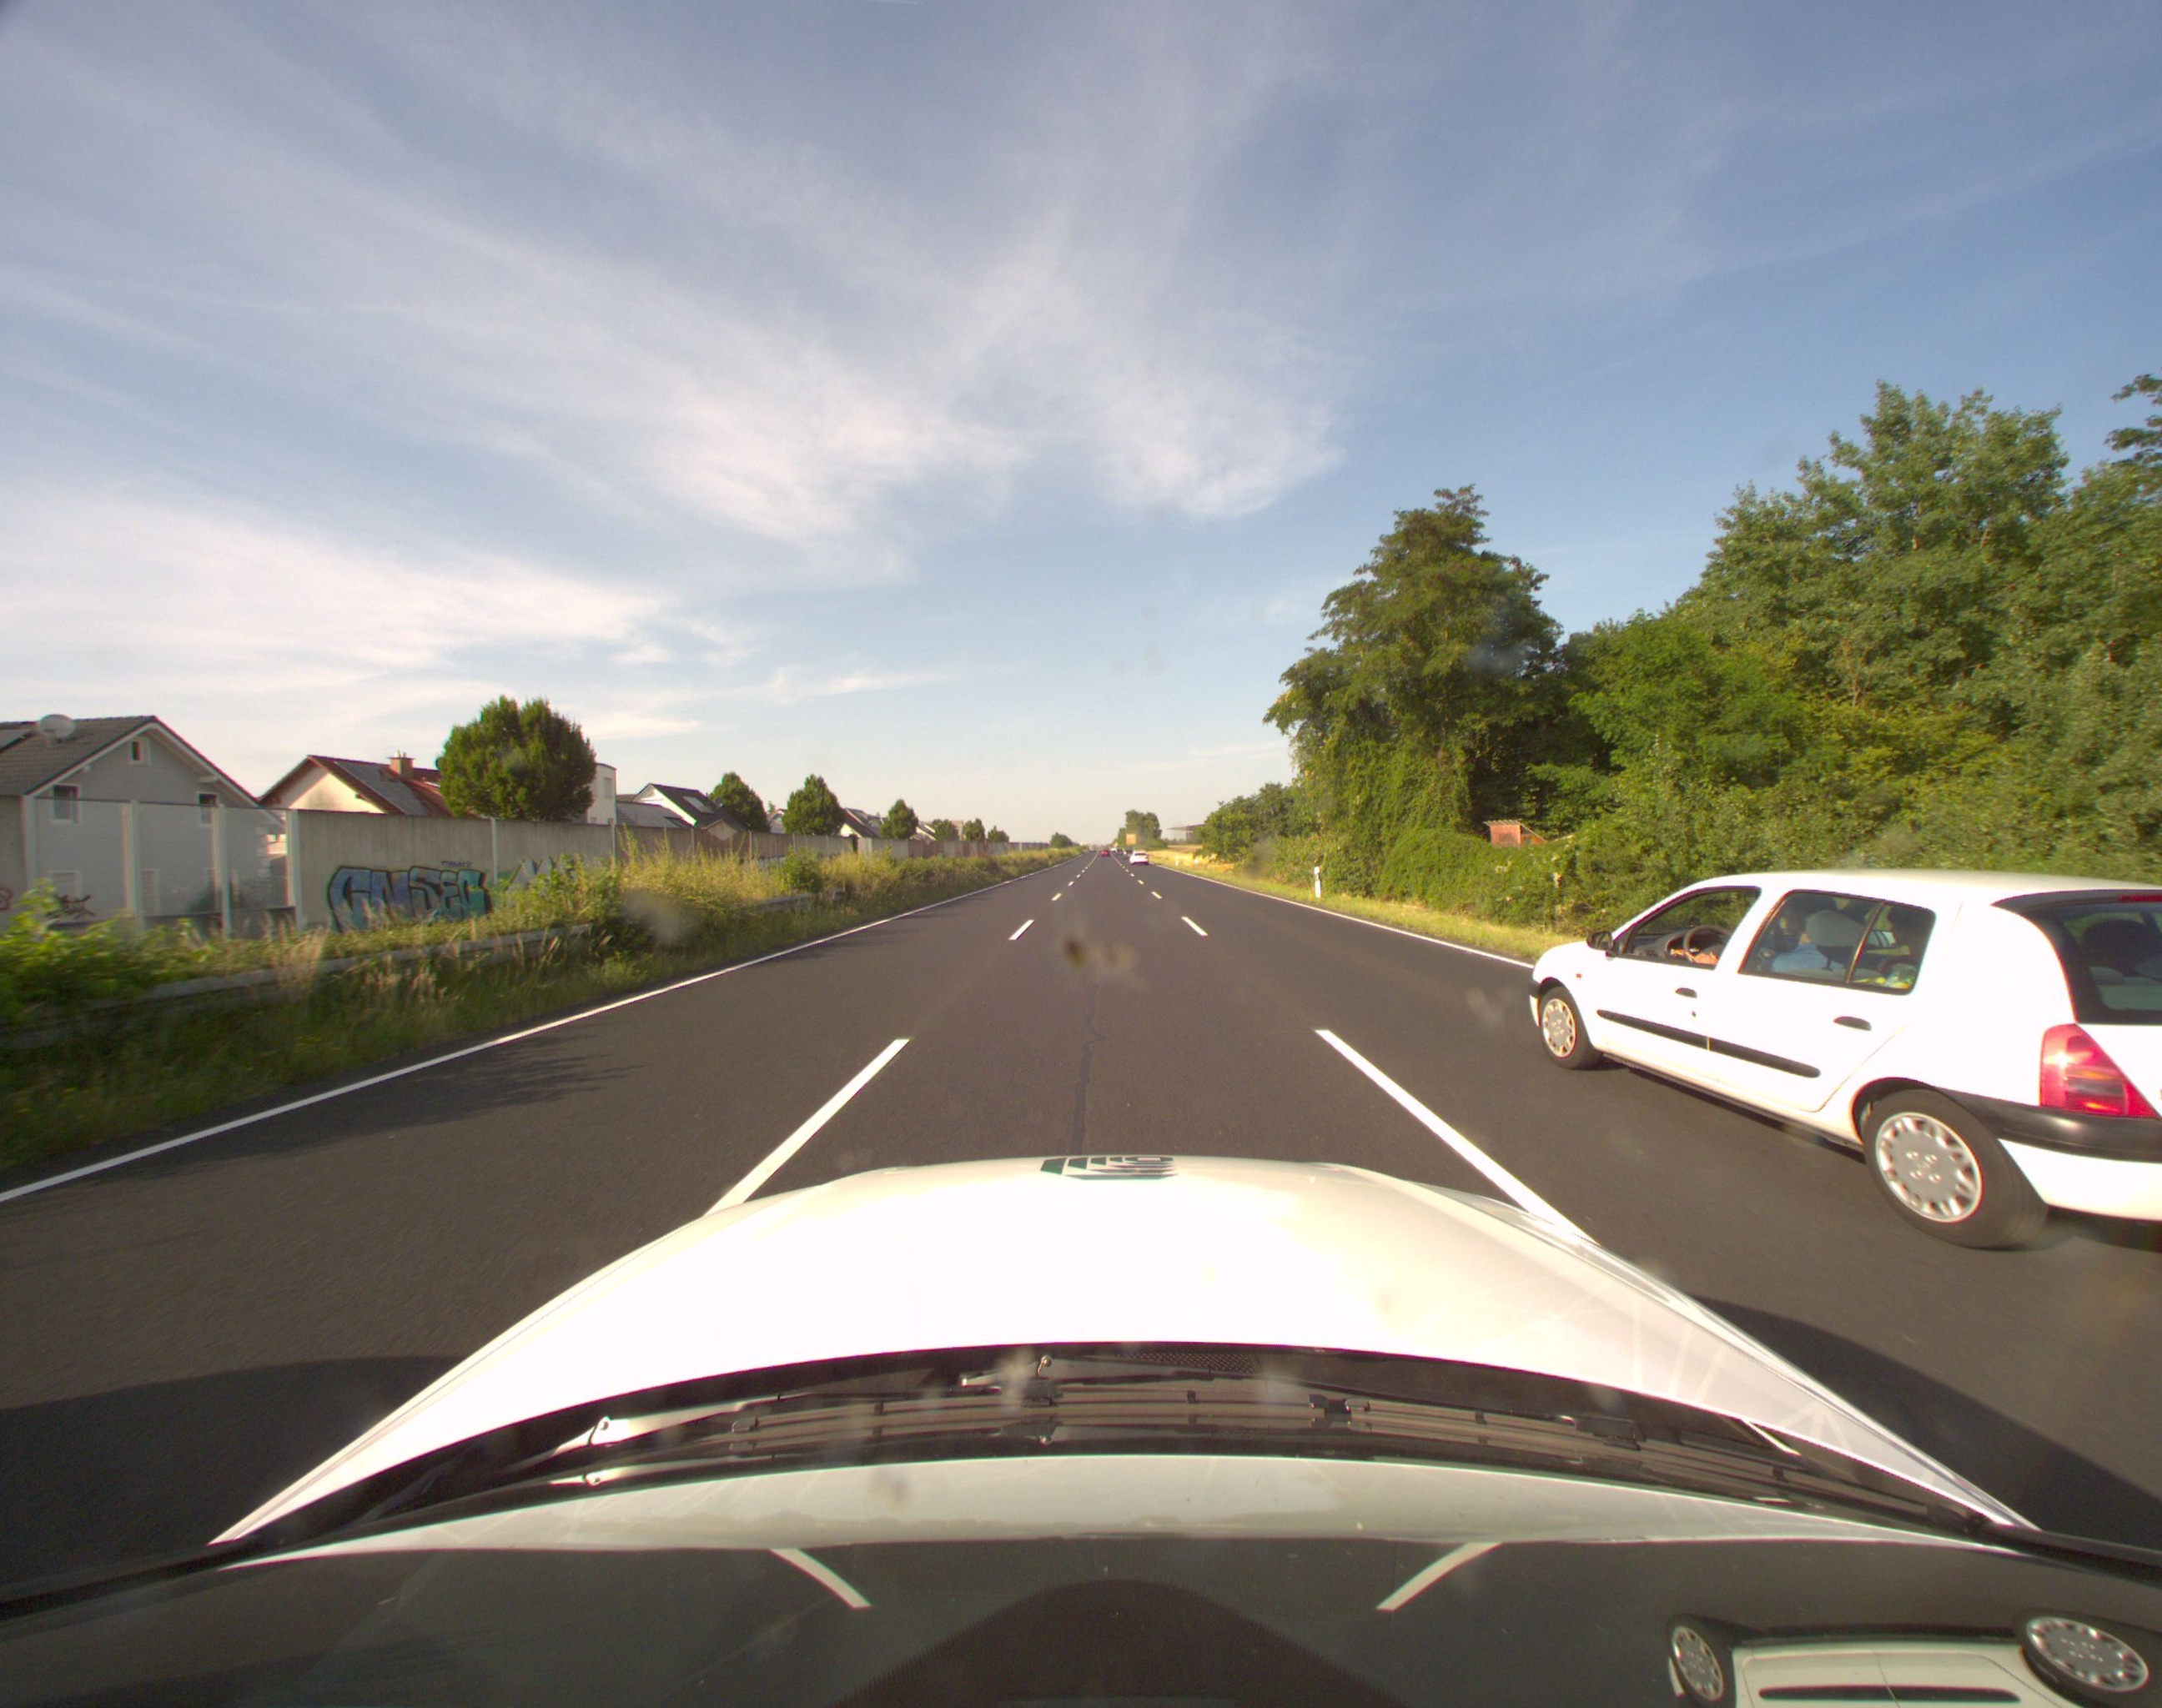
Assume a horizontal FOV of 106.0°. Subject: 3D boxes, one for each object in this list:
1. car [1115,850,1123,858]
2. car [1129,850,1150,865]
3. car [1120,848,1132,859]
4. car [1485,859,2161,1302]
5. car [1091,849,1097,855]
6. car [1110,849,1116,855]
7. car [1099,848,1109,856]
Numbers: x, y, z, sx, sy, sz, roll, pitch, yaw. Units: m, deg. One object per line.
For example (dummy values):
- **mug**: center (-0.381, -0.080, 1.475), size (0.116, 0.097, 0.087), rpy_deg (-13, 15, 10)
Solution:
- **car**: center (8.362, -0.094, 179.138), size (1.827, 1.717, 3.864), rpy_deg (-1, 0, 2)
- **car**: center (6.161, 0.332, 86.104), size (1.986, 1.516, 4.001), rpy_deg (-1, 0, 1)
- **car**: center (7.149, -0.031, 128.973), size (1.821, 1.728, 4.001), rpy_deg (-1, 0, 1)
- **car**: center (4.022, 0.730, 4.561), size (1.611, 1.387, 3.952), rpy_deg (0, 0, 1)
- **car**: center (4.079, -0.689, 259.286), size (1.986, 1.717, 4.001), rpy_deg (-1, 0, 1)
- **car**: center (9.952, -0.629, 255.049), size (1.840, 1.750, 4.002), rpy_deg (-1, 0, 2)
- **car**: center (4.543, -0.344, 161.291), size (1.806, 1.436, 3.858), rpy_deg (-1, 0, 1)
